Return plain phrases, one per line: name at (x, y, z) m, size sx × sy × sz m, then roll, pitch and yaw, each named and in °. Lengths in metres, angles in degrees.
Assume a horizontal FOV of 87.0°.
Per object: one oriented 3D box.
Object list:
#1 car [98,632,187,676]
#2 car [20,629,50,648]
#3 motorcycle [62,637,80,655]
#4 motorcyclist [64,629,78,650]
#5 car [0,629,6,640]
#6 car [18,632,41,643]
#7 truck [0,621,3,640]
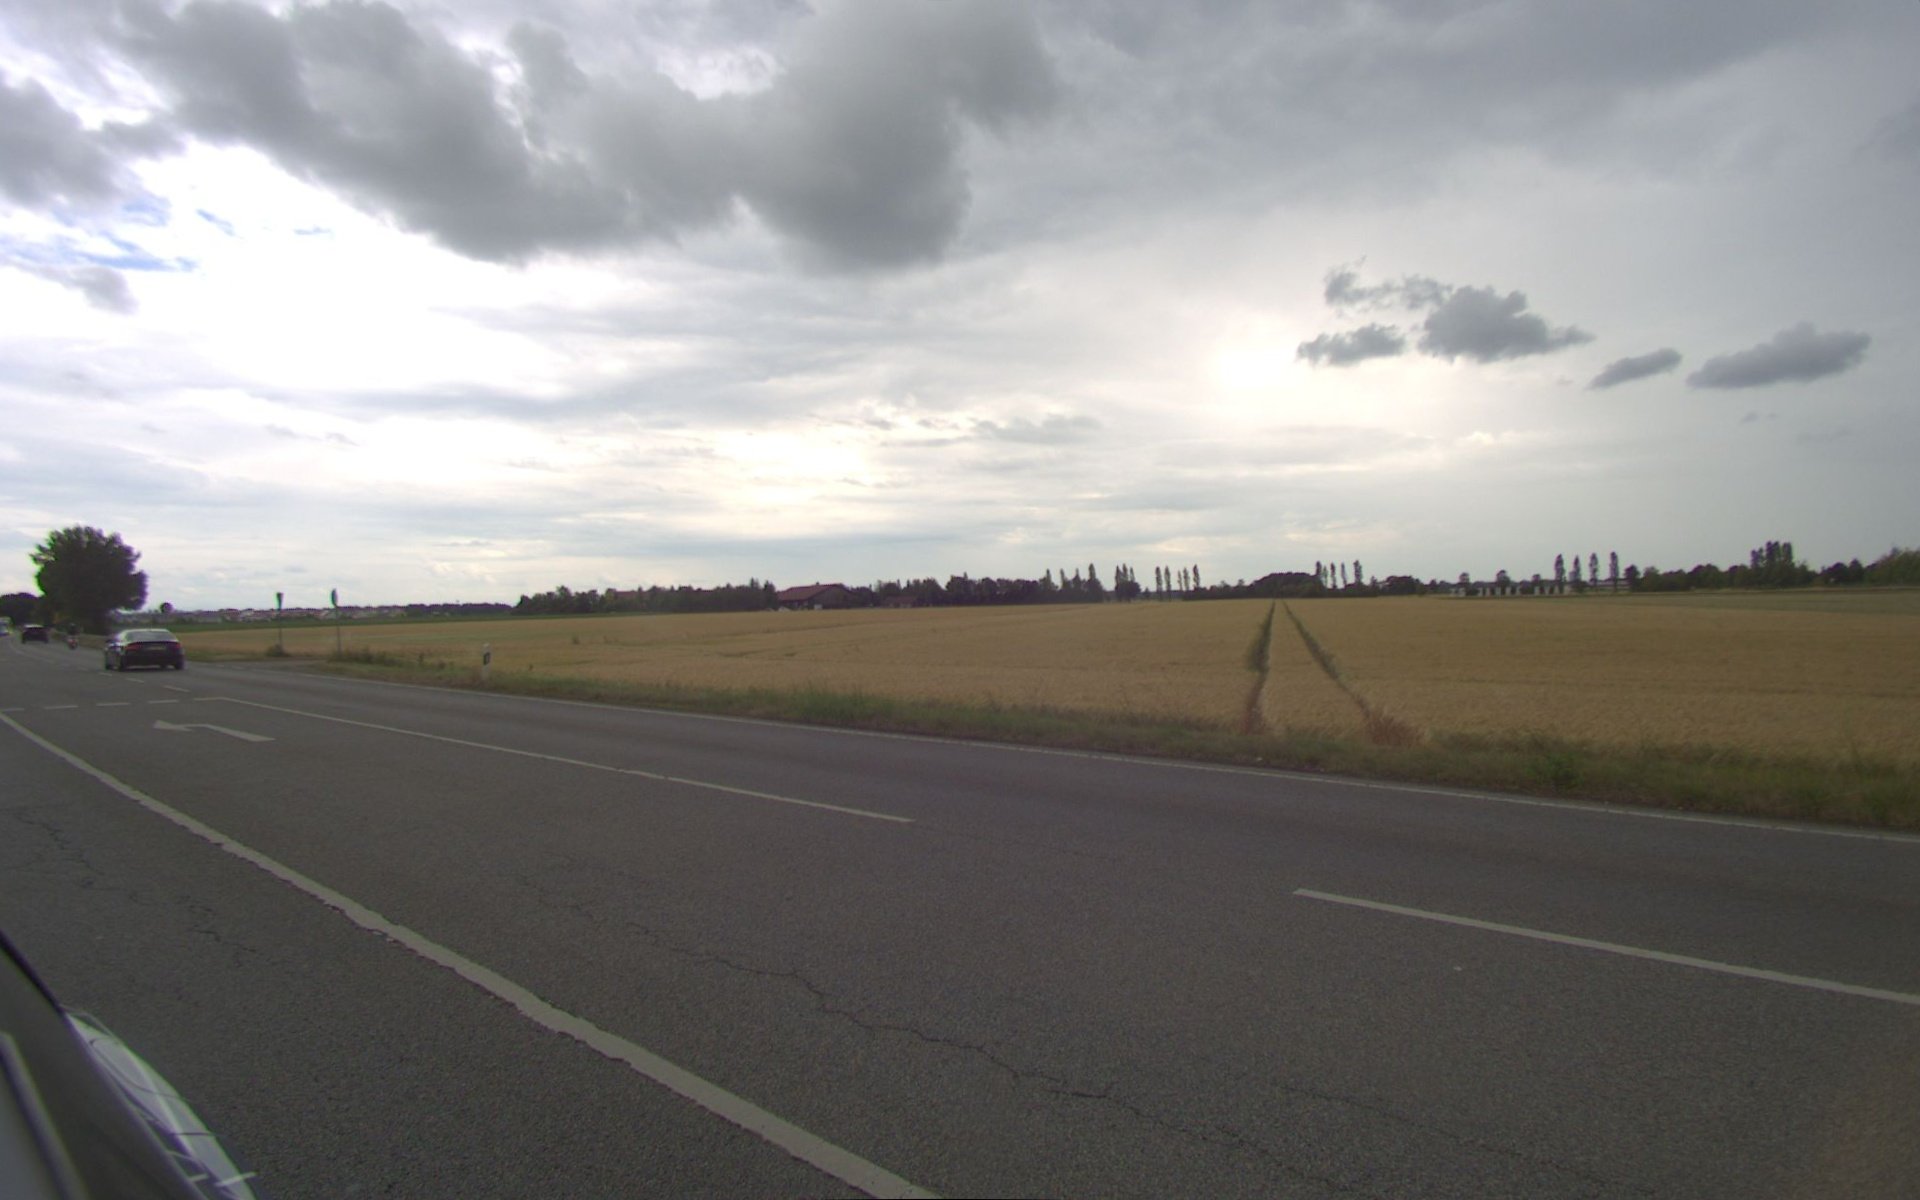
car at (-28.365, 1.830, 35.062) m, size 4.424 × 1.421 × 1.807 m, roll -2°, pitch -2°, yaw 43°
car at (-85.414, 3.542, 93.435) m, size 1.924 × 1.707 × 4.449 m, roll 1°, pitch -2°, yaw -44°
motorcycle at (-59.130, 3.038, 67.307) m, size 2.025 × 1.157 × 0.717 m, roll -2°, pitch -2°, yaw 45°
motorcyclist at (-59.133, 2.618, 67.310) m, size 0.810 × 1.394 × 0.632 m, roll -2°, pitch -2°, yaw 44°
car at (-132.555, 4.785, 139.122) m, size 1.766 × 1.551 × 4.145 m, roll 0°, pitch -1°, yaw -38°
car at (-129.801, 5.268, 141.198) m, size 1.968 × 1.521 × 4.008 m, roll 2°, pitch -2°, yaw -38°
truck at (-146.224, 4.650, 152.553) m, size 2.285 × 2.786 × 7.686 m, roll -1°, pitch -1°, yaw -40°
